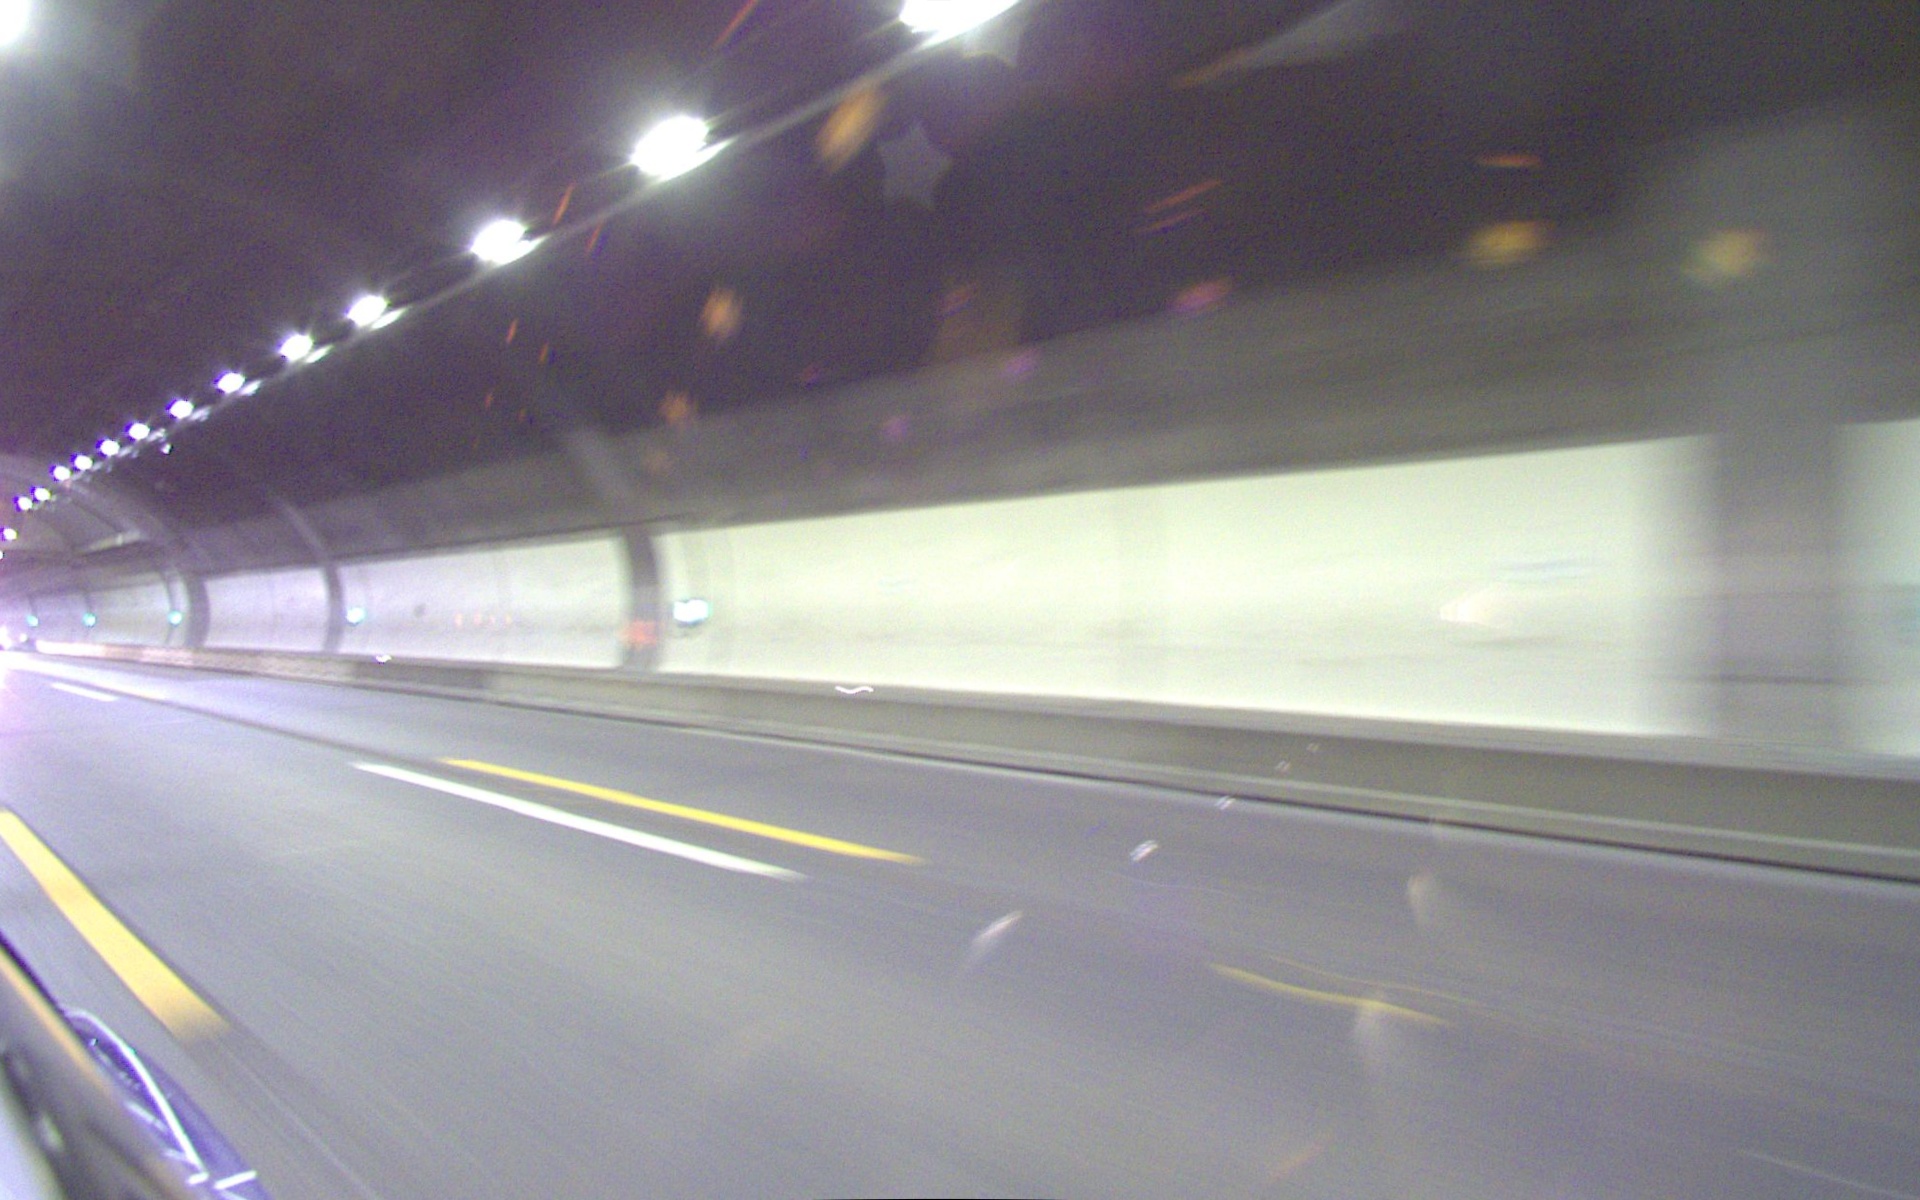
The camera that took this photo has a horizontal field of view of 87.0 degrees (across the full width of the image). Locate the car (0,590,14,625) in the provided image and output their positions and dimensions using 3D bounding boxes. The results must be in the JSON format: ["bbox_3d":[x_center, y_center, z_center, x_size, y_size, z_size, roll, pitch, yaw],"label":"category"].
[{"bbox_3d":[-44.838,0.333,46.167,4.849,1.552,1.973,-1,0,41],"label":"car"}]
